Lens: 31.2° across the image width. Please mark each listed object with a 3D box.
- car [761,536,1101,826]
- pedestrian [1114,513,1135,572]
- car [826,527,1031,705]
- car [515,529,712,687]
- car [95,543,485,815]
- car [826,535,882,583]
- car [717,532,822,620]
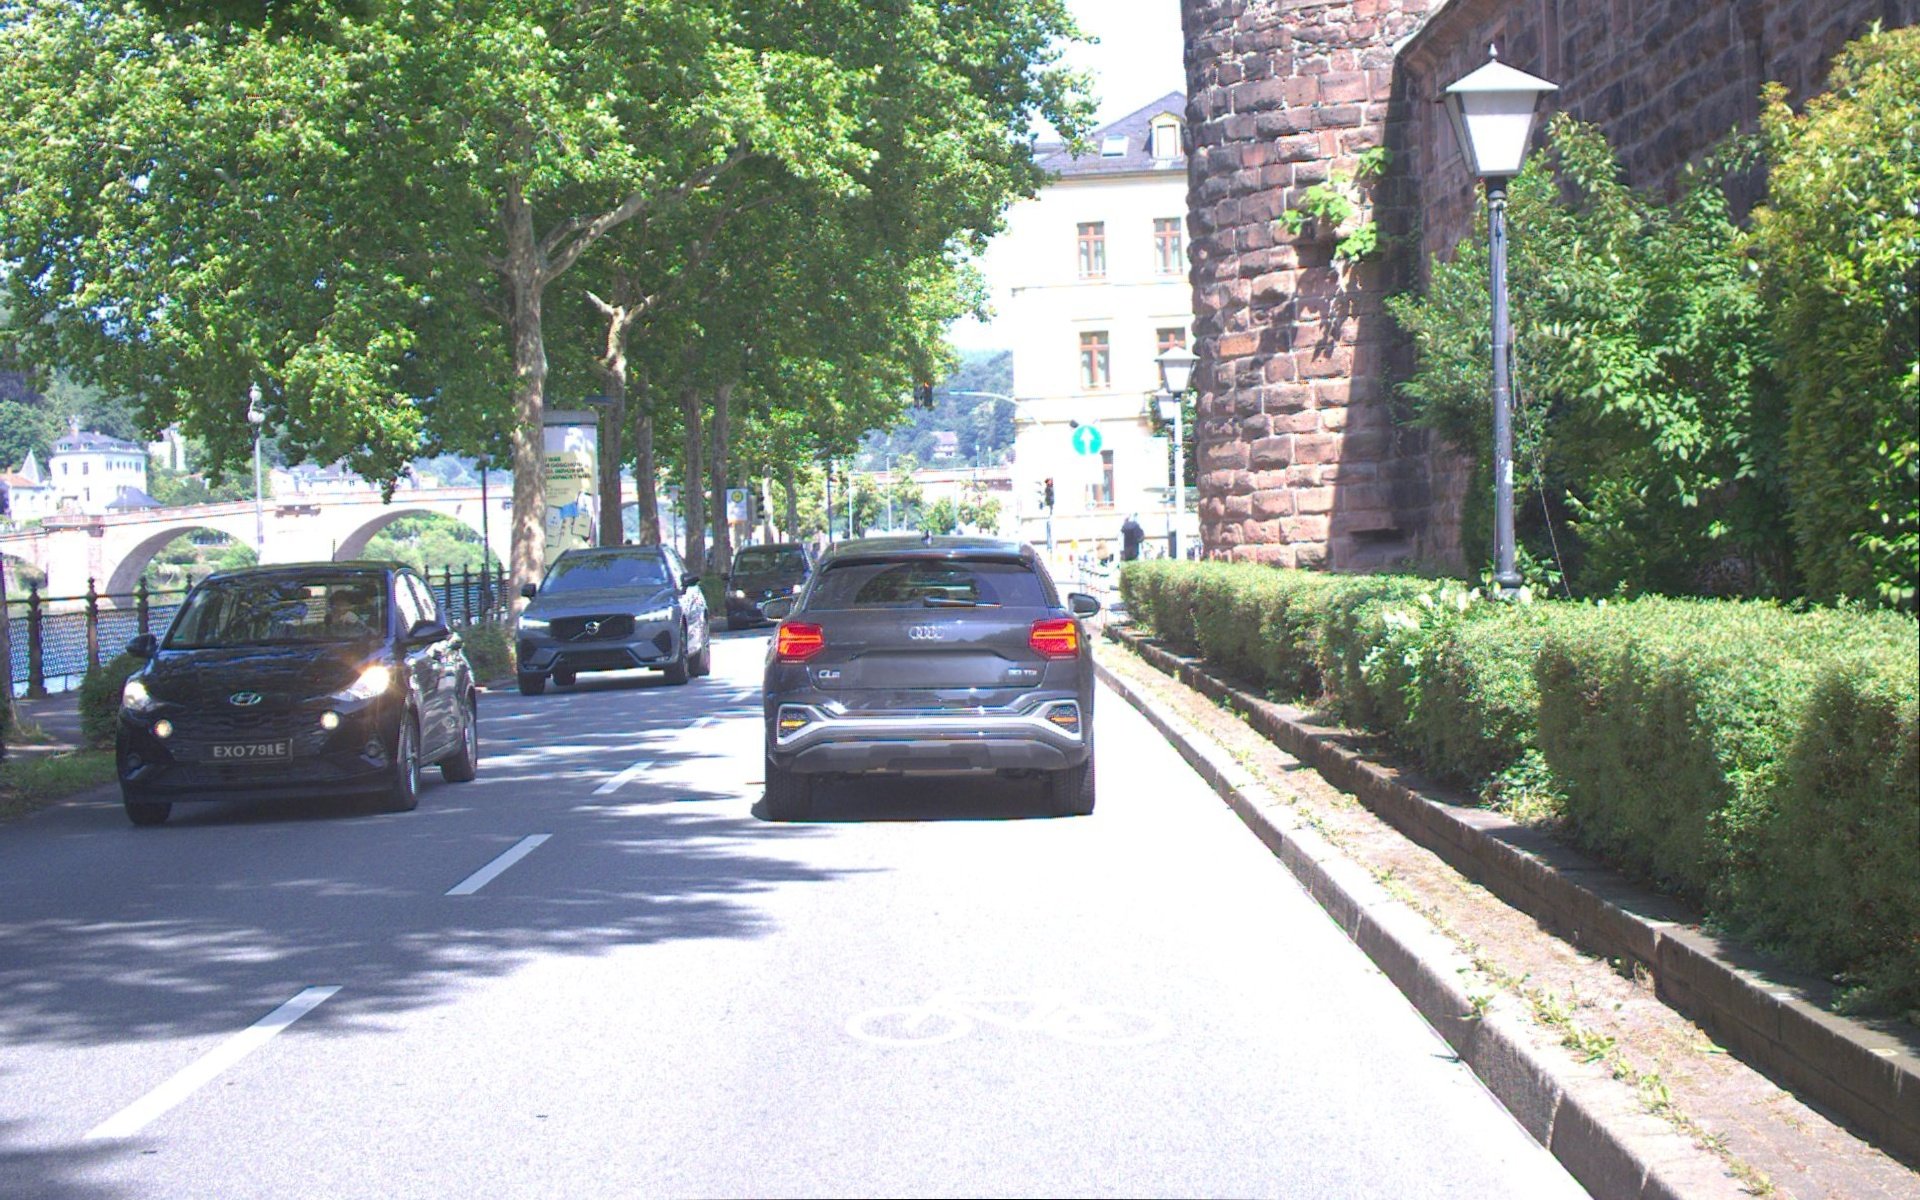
[{"bbox_3d":[-0.179,0.385,19.497,1.748,1.489,3.629,0,1,-1],"label":"car"},{"bbox_3d":[4.550,-1.577,95.144,0.557,1.627,0.660,0,1,1],"label":"pedestrian"},{"bbox_3d":[-0.253,0.108,32.649,1.801,1.557,3.716,-1,1,1],"label":"car"},{"bbox_3d":[-3.980,0.048,40.059,1.877,1.692,4.259,-1,1,-1],"label":"car"},{"bbox_3d":[-3.993,0.409,21.038,1.649,1.464,3.780,-1,1,-1],"label":"car"},{"bbox_3d":[-3.525,-1.378,114.796,1.615,1.518,3.476,-1,1,2],"label":"car"},{"bbox_3d":[-3.739,-0.505,67.972,1.763,1.642,4.090,-1,1,1],"label":"car"}]
